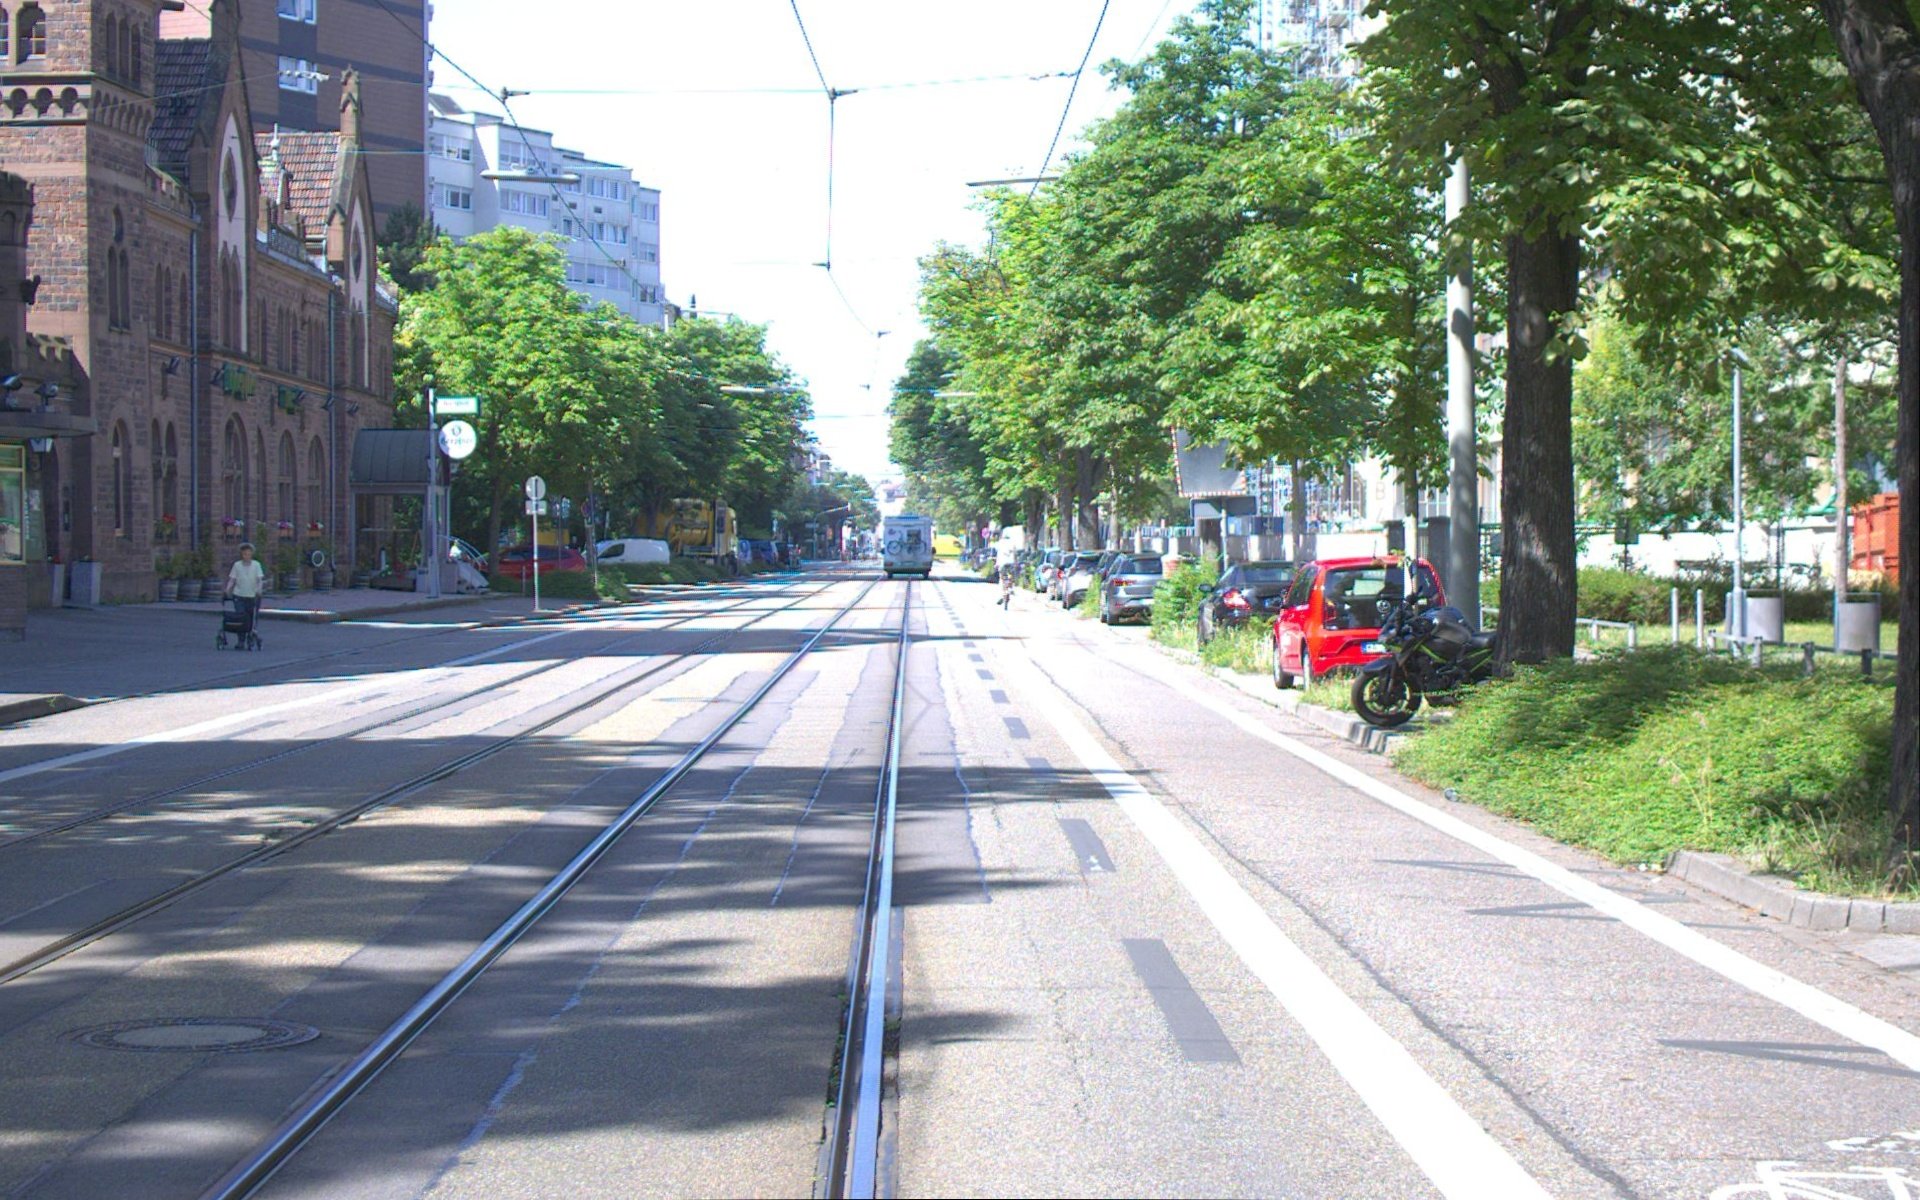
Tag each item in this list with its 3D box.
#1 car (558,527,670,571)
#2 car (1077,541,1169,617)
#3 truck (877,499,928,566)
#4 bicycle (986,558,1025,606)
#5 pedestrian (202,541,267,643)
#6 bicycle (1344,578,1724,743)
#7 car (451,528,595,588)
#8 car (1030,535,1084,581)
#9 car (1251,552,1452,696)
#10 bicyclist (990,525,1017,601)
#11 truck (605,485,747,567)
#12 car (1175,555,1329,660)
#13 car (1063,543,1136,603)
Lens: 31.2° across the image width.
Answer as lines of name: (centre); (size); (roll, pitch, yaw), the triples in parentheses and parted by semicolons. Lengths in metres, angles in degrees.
car: (-13.893, -2.040, 137.975); (3.987, 1.744, 2.000); (0, 1, -31)
car: (3.261, -0.453, 69.398); (1.630, 1.467, 4.114); (0, 1, 0)
truck: (-2.761, -3.248, 165.066); (2.402, 3.098, 6.038); (0, 1, -1)
bicycle: (1.118, -0.452, 84.478); (0.855, 1.106, 2.140); (2, 1, -1)
pedestrian: (-10.888, -0.125, 51.626); (0.883, 1.507, 1.476); (0, 1, -9)
bicycle: (4.763, 0.494, 28.737); (3.028, 1.327, 1.041); (0, 1, 3)
car: (-13.354, -1.294, 105.147); (3.988, 1.804, 1.889); (-1, 1, -37)
car: (3.177, -1.384, 112.925); (1.630, 1.467, 4.114); (0, 1, 0)
car: (4.262, 0.226, 37.898); (1.629, 1.467, 3.720); (0, 1, -3)
bicyclist: (1.067, -0.918, 84.562); (0.636, 1.865, 1.024); (0, 1, -1)
truck: (-13.742, -3.581, 167.242); (2.816, 3.846, 9.990); (0, 1, 21)
car: (4.014, 0.076, 47.743); (1.629, 1.350, 3.902); (0, 1, -3)
car: (3.521, -0.700, 87.313); (1.630, 1.467, 4.114); (0, 1, 0)
